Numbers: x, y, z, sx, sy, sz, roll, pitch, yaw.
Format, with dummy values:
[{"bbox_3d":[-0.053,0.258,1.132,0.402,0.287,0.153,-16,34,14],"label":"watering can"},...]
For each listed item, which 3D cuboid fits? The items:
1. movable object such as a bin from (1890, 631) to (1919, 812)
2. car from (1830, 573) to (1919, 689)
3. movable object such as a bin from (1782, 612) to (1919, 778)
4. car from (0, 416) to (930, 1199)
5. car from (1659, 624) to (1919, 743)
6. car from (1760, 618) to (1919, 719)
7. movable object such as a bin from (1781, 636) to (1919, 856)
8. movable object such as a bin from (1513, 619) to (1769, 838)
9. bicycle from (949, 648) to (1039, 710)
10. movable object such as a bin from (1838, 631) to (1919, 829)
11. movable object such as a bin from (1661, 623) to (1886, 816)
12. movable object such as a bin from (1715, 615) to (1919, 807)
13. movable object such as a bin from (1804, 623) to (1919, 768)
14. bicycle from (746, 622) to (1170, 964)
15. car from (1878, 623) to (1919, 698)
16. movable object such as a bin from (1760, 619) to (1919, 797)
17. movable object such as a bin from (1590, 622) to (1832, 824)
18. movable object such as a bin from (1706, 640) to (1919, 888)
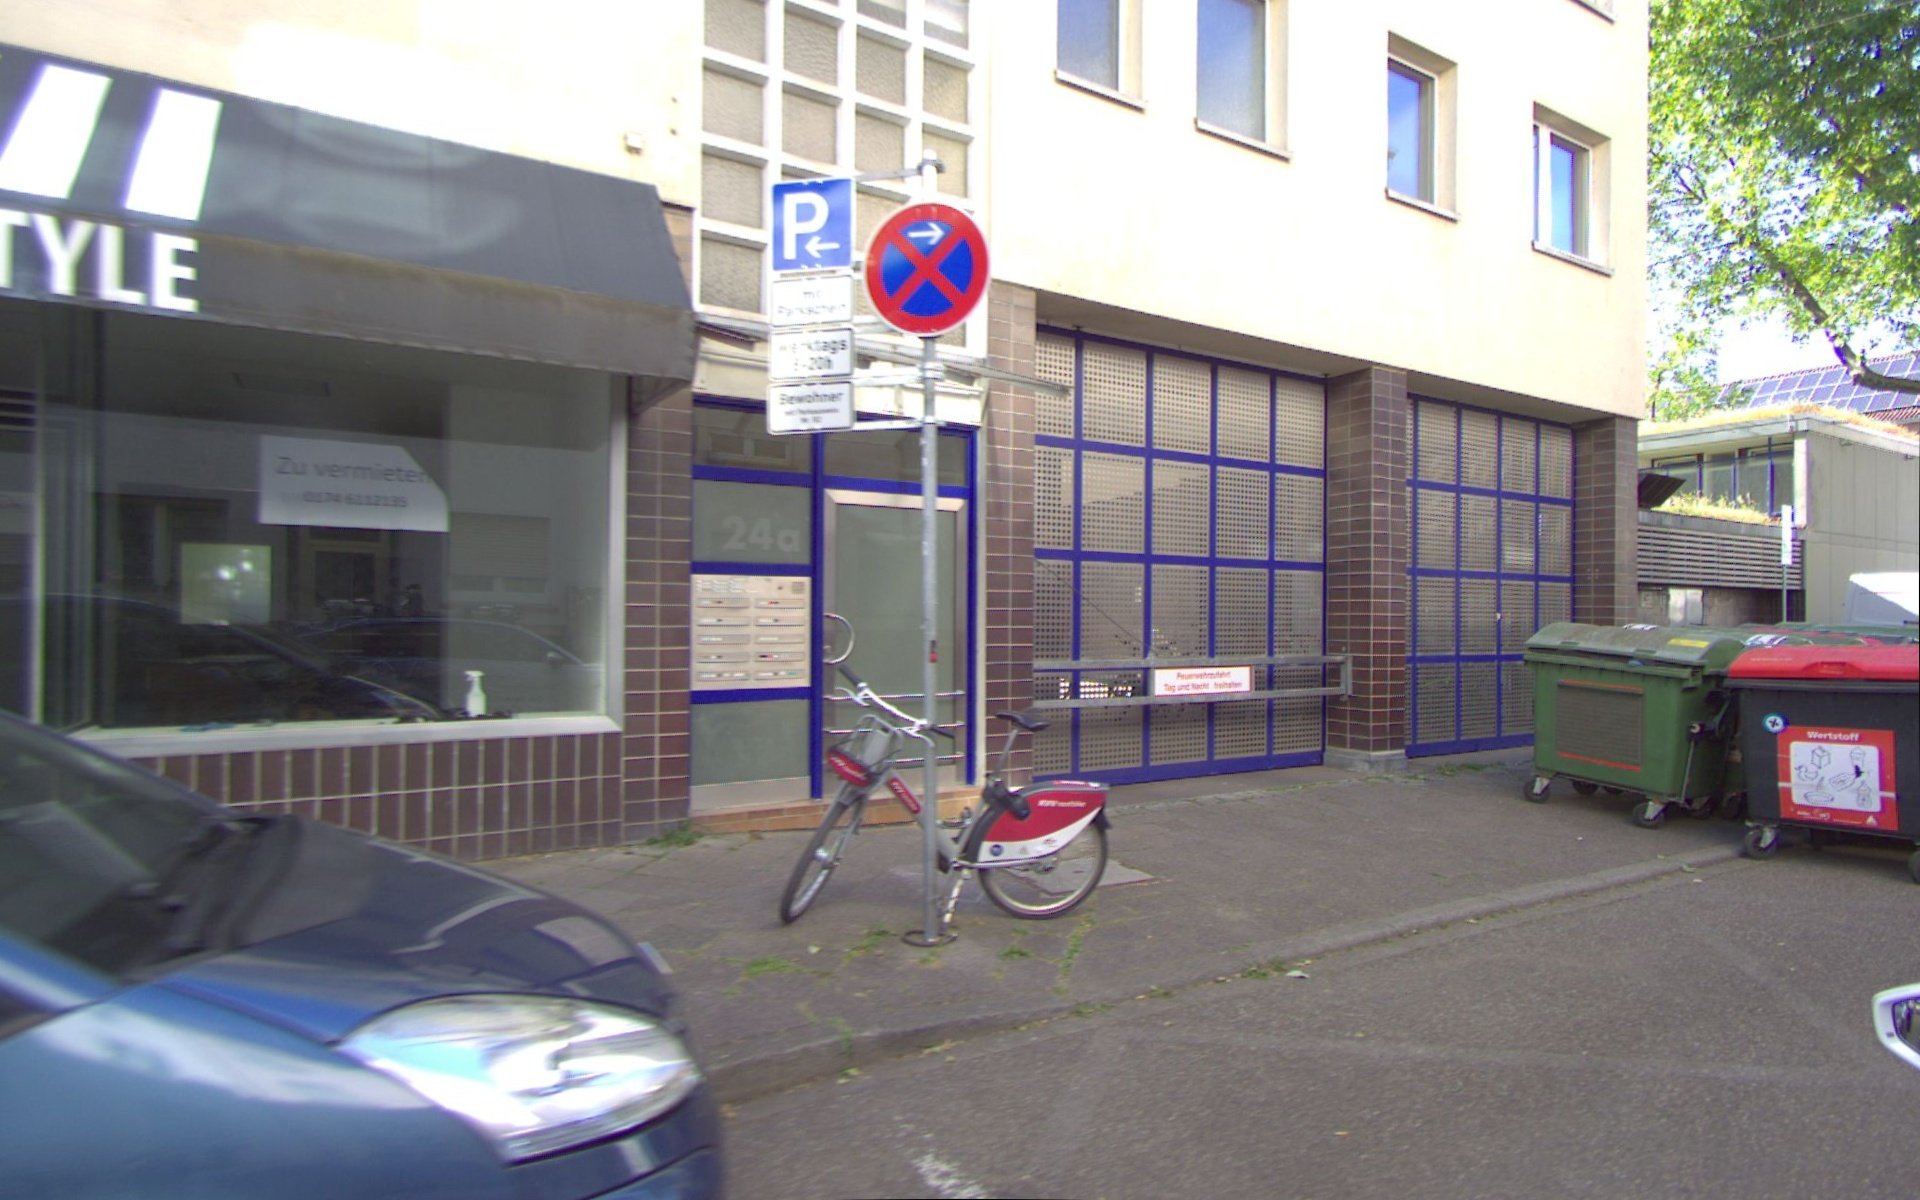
[{"bbox_3d":[8.767,1.041,8.319,1.006,1.518,1.337,2,-1,-30],"label":"movable object such as a bin"},{"bbox_3d":[23.334,0.809,21.527,2.119,2.589,6.710,2,1,-28],"label":"car"},{"bbox_3d":[9.914,0.988,10.955,1.163,1.675,1.219,2,-1,-36],"label":"movable object such as a bin"},{"bbox_3d":[-2.465,0.669,1.104,4.616,1.688,1.774,1,-3,-31],"label":"car"},{"bbox_3d":[12.917,1.172,14.853,1.806,1.524,3.856,2,-1,-31],"label":"car"},{"bbox_3d":[16.893,1.212,17.347,1.895,1.631,4.440,2,0,-32],"label":"car"},{"bbox_3d":[6.999,1.024,7.269,1.081,1.503,1.328,2,-3,-30],"label":"movable object such as a bin"},{"bbox_3d":[5.321,0.928,7.894,1.165,1.518,1.290,2,-1,-30],"label":"movable object such as a bin"},{"bbox_3d":[0.487,1.132,14.497,1.224,0.858,0.421,0,0,-14],"label":"bicycle"},{"bbox_3d":[7.880,1.018,7.808,0.991,1.506,1.342,2,-1,-30],"label":"movable object such as a bin"},{"bbox_3d":[7.243,0.998,8.981,1.006,1.542,1.296,2,-1,-30],"label":"movable object such as a bin"},{"bbox_3d":[8.106,0.977,9.469,1.006,1.642,1.288,2,-1,-30],"label":"movable object such as a bin"},{"bbox_3d":[10.826,1.077,11.664,1.110,1.570,1.343,2,-1,-36],"label":"movable object such as a bin"},{"bbox_3d":[0.015,0.833,4.601,1.828,1.349,0.464,3,2,-23],"label":"bicycle"},{"bbox_3d":[21.228,1.339,19.609,1.905,1.490,4.480,1,2,-29],"label":"car"},{"bbox_3d":[8.999,1.019,10.026,1.069,1.625,1.282,2,-1,-30],"label":"movable object such as a bin"},{"bbox_3d":[6.306,0.963,8.476,1.143,1.518,1.299,2,-1,-30],"label":"movable object such as a bin"},{"bbox_3d":[6.003,1.012,6.675,1.173,1.469,1.313,2,-3,-30],"label":"movable object such as a bin"}]
